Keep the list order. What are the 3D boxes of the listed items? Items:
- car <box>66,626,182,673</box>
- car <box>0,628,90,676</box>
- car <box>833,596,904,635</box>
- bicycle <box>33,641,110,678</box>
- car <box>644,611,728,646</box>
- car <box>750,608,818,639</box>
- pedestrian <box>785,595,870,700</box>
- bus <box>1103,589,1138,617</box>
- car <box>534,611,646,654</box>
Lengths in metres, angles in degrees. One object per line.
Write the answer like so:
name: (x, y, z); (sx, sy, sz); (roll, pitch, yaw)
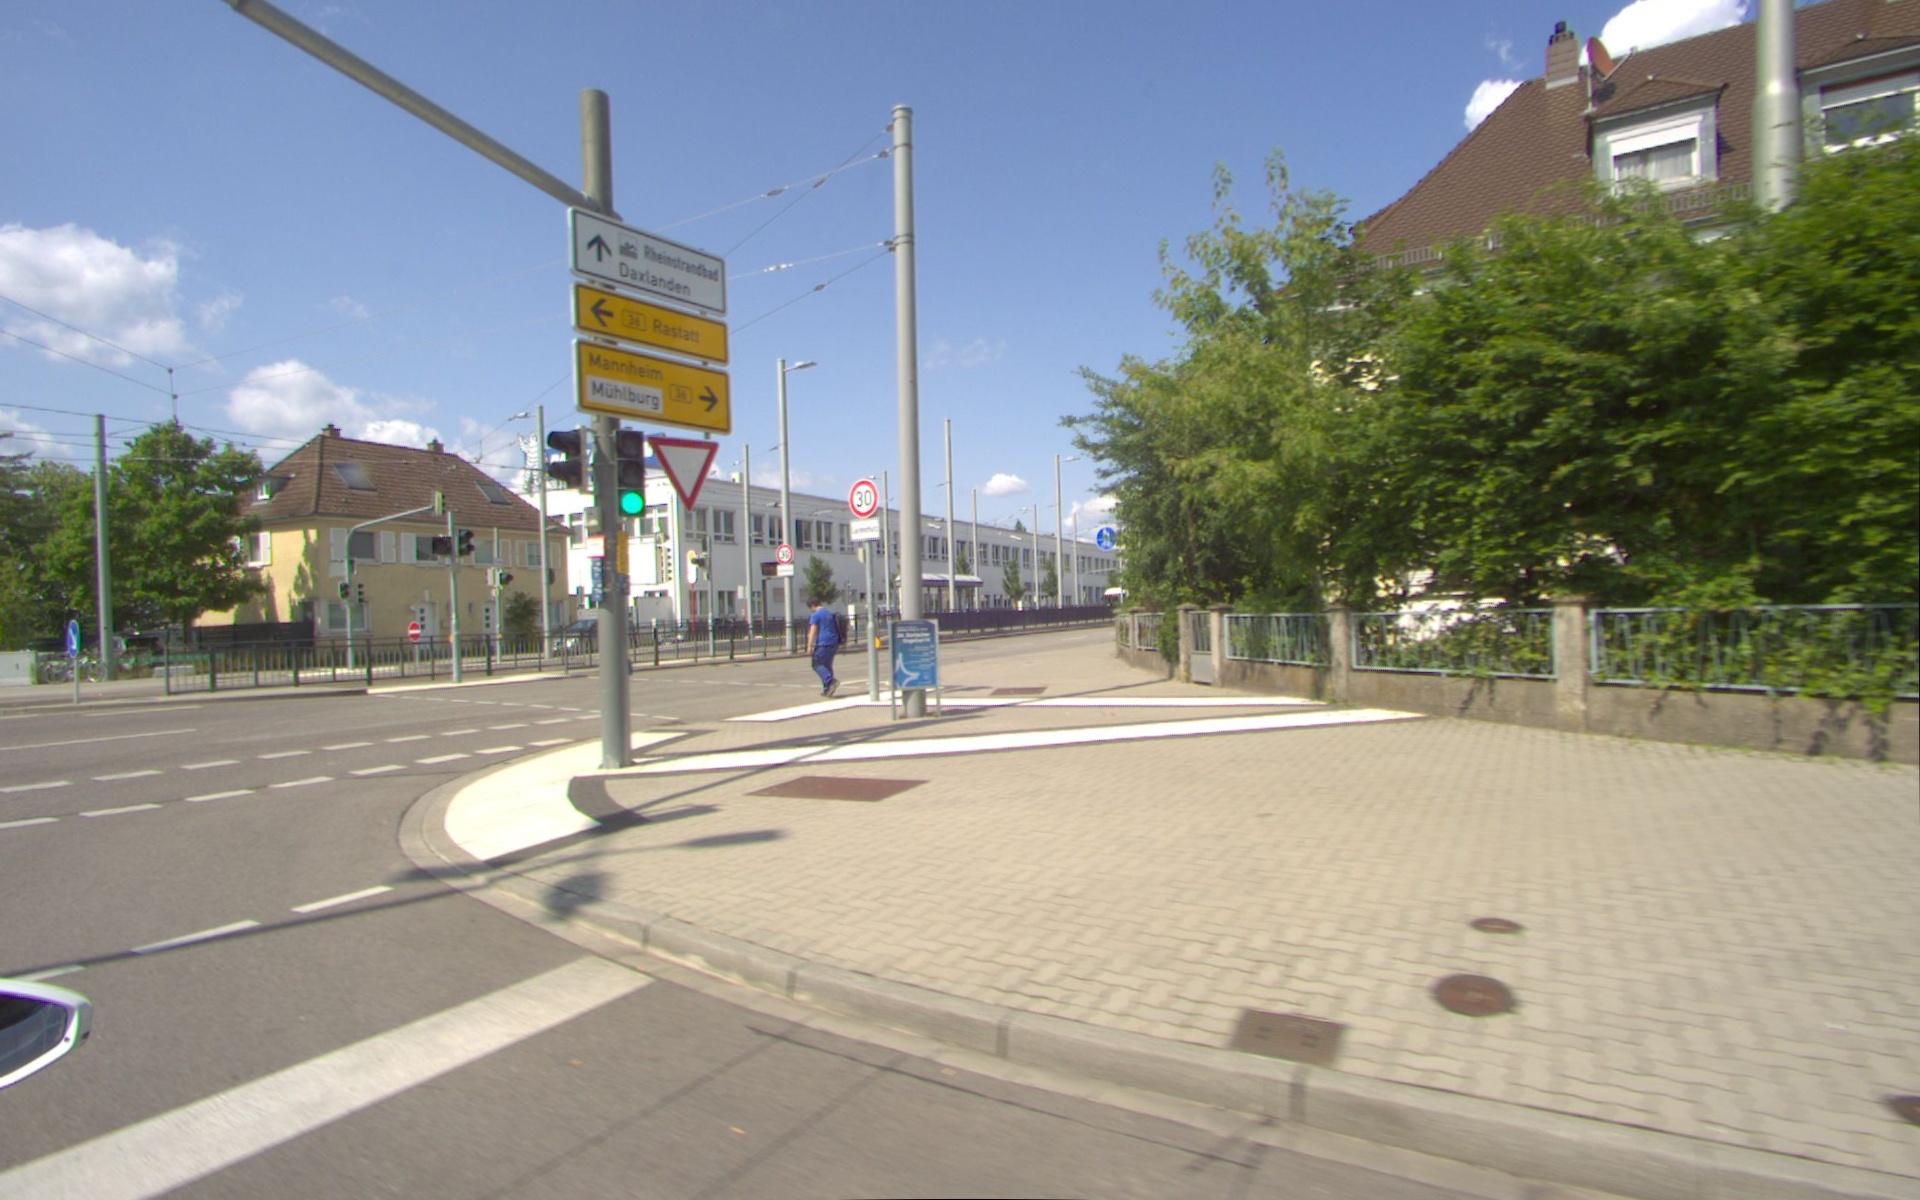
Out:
car: (-33.411, 1.971, 40.027); (3.933, 1.642, 1.823); (-4, -1, 21)
car: (-35.138, 1.993, 37.786); (3.933, 1.642, 1.823); (-4, -1, 21)
car: (-5.370, 0.903, 59.244); (1.787, 2.187, 4.826); (-2, 0, 28)
bicycle: (-29.884, 1.990, 33.701); (1.777, 1.119, 0.700); (-2, 0, -21)
car: (-12.476, 1.288, 45.829); (1.552, 1.465, 3.706); (-2, 0, 28)
car: (-10.439, 1.362, 59.781); (1.910, 1.714, 3.982); (-2, 0, 28)
pedestrian: (-2.303, 0.808, 17.474); (1.024, 1.758, 1.029); (-1, 0, 27)
bus: (19.150, 0.334, 119.263); (2.468, 3.162, 6.634); (-2, 0, 24)
car: (-14.807, 1.283, 40.296); (1.814, 1.589, 3.982); (-2, 0, 28)
